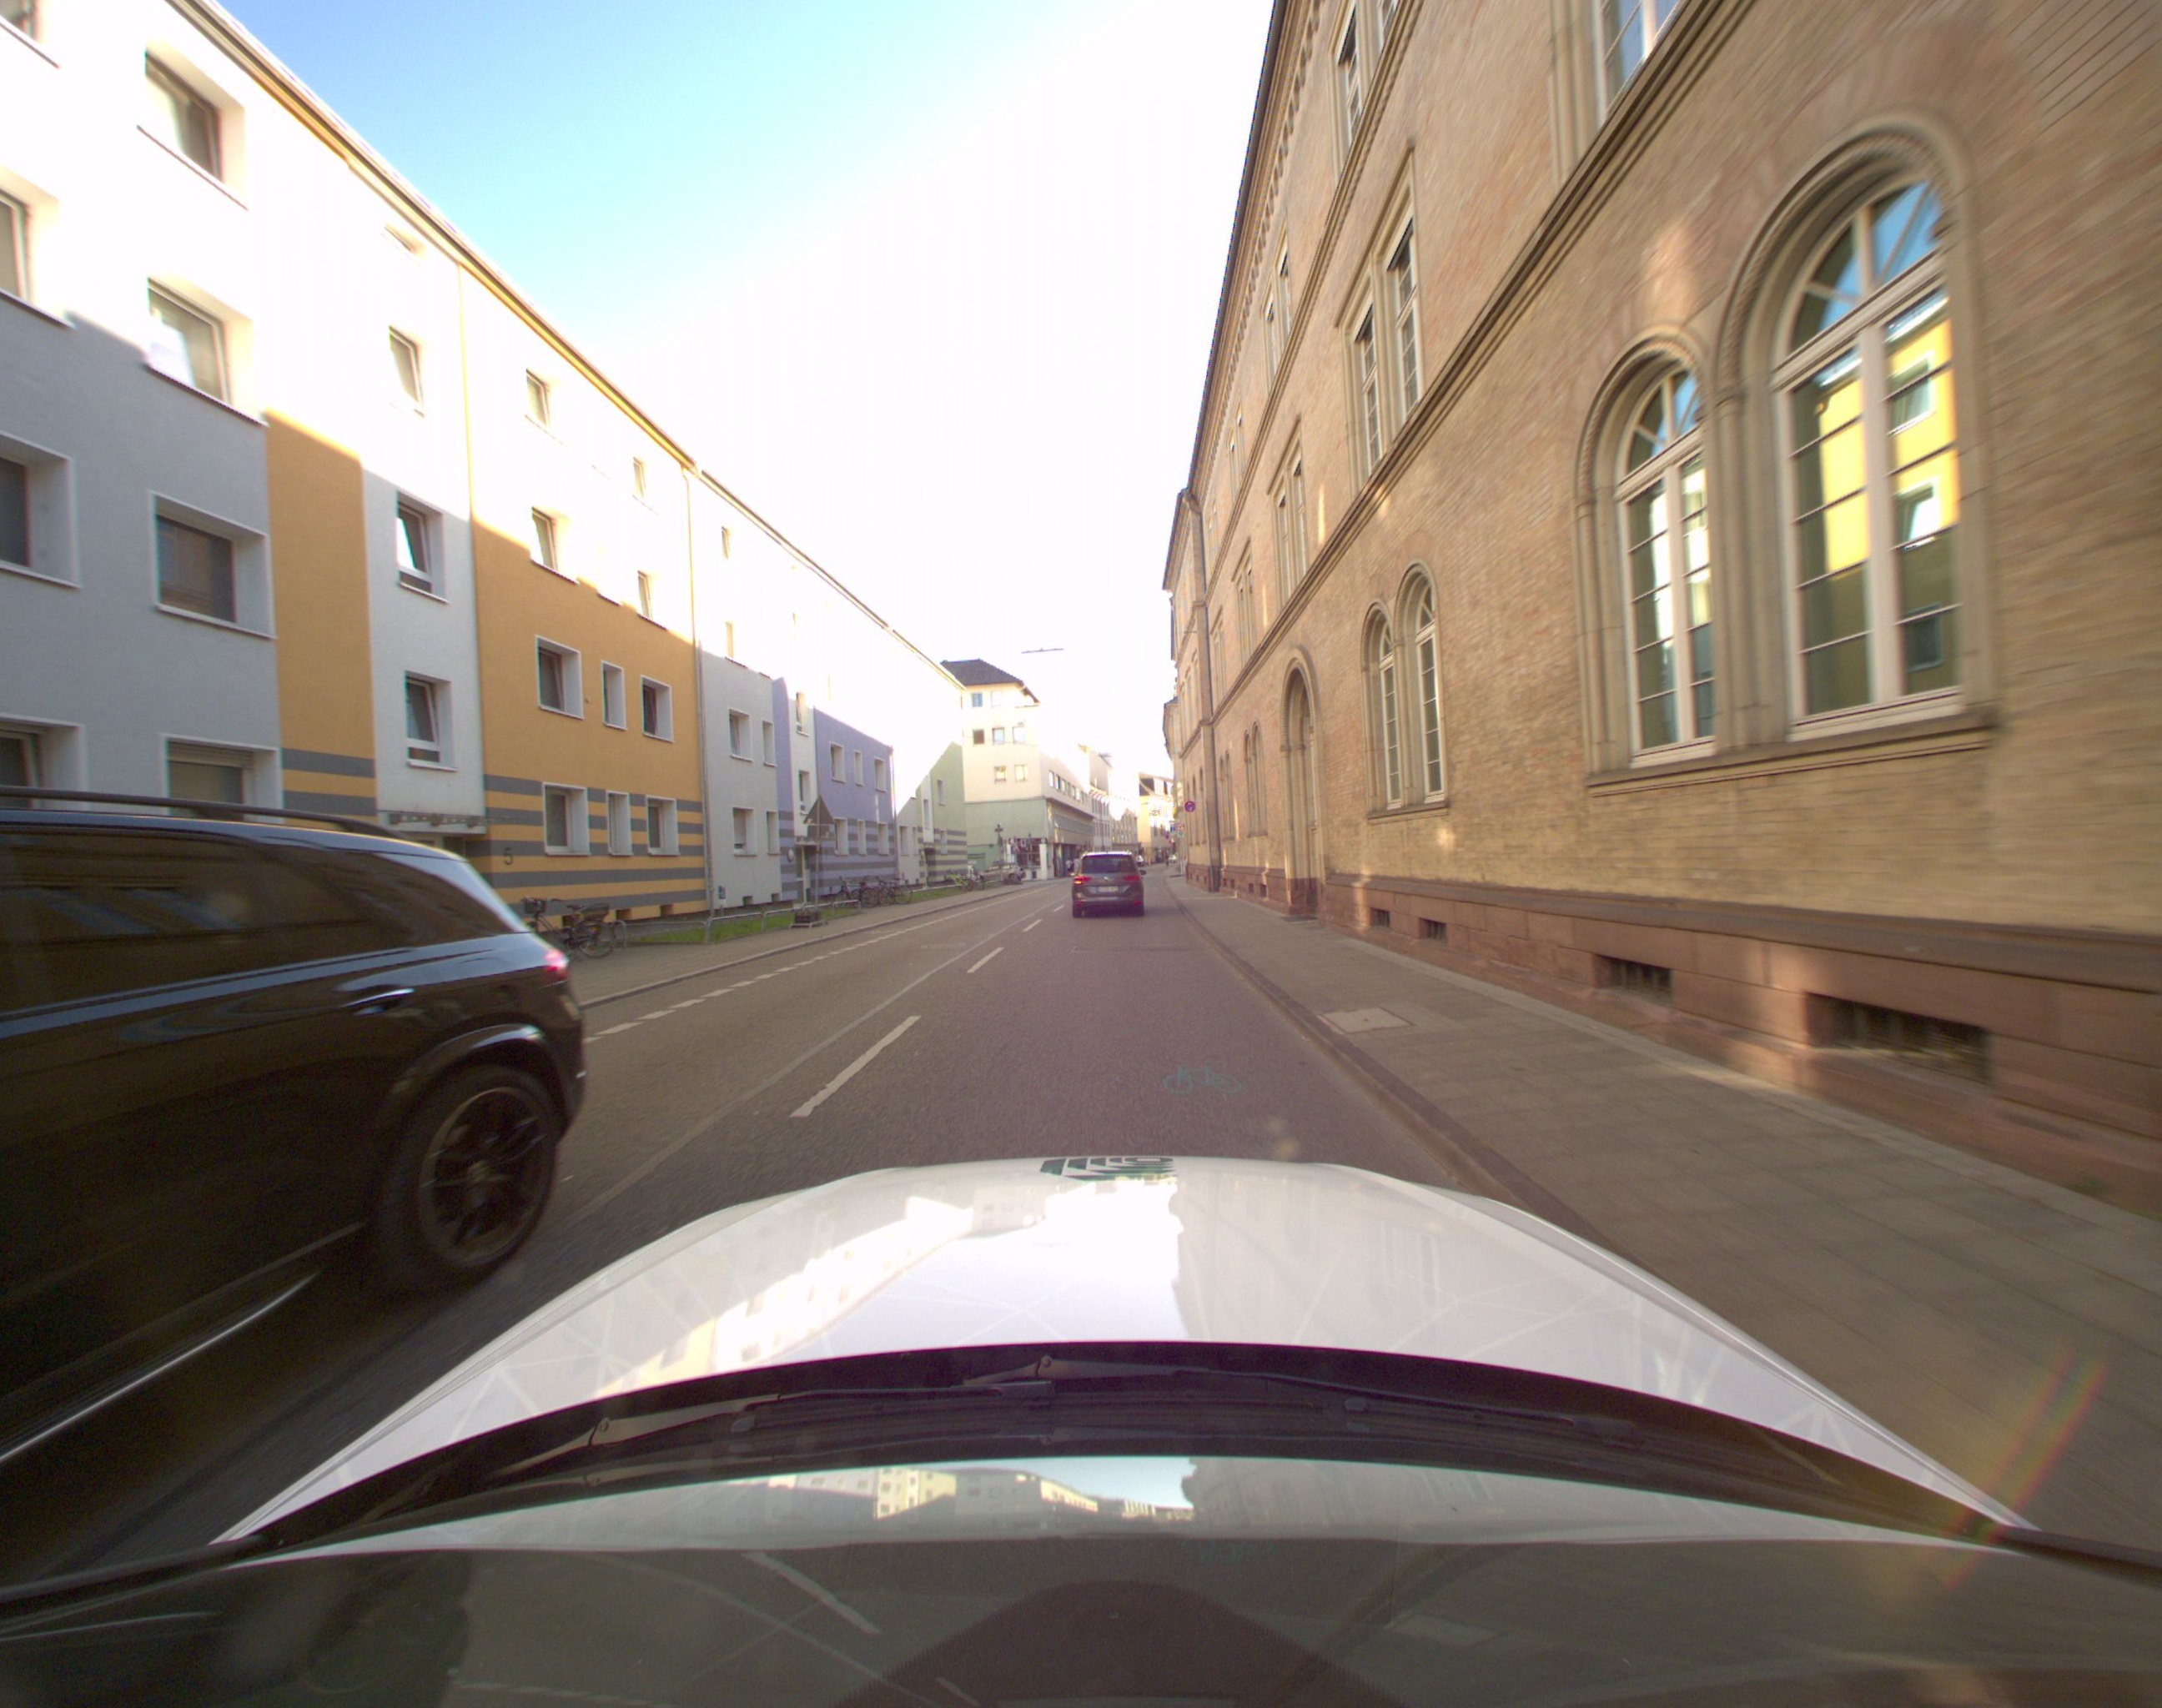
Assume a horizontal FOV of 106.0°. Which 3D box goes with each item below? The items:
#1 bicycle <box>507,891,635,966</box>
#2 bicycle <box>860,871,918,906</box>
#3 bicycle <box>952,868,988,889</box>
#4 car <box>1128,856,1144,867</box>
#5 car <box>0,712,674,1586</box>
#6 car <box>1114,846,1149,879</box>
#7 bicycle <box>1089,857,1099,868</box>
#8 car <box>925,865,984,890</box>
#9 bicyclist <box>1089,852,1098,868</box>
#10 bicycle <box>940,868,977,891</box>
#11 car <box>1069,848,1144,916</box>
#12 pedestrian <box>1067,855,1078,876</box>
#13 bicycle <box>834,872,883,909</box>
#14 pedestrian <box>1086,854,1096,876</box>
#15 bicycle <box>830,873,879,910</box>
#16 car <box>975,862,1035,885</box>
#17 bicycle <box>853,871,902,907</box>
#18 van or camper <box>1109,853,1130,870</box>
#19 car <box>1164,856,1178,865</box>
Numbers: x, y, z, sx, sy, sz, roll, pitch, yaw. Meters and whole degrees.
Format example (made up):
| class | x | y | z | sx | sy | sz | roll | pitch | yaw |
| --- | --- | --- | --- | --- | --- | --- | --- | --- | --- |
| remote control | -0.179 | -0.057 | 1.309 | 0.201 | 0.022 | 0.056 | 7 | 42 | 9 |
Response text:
| class | x | y | z | sx | sy | sz | roll | pitch | yaw |
| --- | --- | --- | --- | --- | --- | --- | --- | --- | --- |
| bicycle | -8.890 | 1.287 | 14.250 | 1.749 | 1.145 | 0.649 | -3 | -1 | -6 |
| bicycle | -7.288 | 1.314 | 30.973 | 2.001 | 1.231 | 0.623 | -3 | -1 | 2 |
| bicycle | -6.096 | 1.337 | 44.660 | 1.925 | 1.179 | 0.612 | 0 | -1 | -5 |
| car | 8.099 | 1.118 | 119.873 | 1.854 | 1.468 | 3.844 | -3 | 0 | 10 |
| car | -3.252 | 0.679 | 1.796 | 1.893 | 1.835 | 5.096 | -5 | 0 | 2 |
| car | 3.122 | 0.497 | 50.179 | 1.985 | 1.882 | 4.003 | -3 | 0 | 3 |
| bicycle | 1.300 | 0.890 | 82.503 | 0.827 | 1.054 | 2.552 | -3 | 0 | 5 |
| car | -8.542 | 1.564 | 54.986 | 3.483 | 1.443 | 1.817 | -3 | 0 | 6 |
| bicyclist | 1.298 | 0.630 | 82.528 | 0.827 | 1.561 | 0.760 | -3 | 0 | 4 |
| bicycle | -6.486 | 1.344 | 43.212 | 1.930 | 1.179 | 0.611 | 0 | -1 | -11 |
| car | 0.726 | 0.678 | 21.206 | 1.754 | 1.607 | 4.004 | 0 | 0 | 3 |
| pedestrian | -0.756 | 1.013 | 71.267 | 0.550 | 1.829 | 0.735 | -3 | -1 | 28 |
| bicycle | -7.925 | 1.293 | 29.032 | 1.578 | 1.241 | 0.449 | -3 | -1 | 2 |
| pedestrian | 0.893 | 0.958 | 71.775 | 0.550 | 1.829 | 0.735 | -3 | -1 | 28 |
| bicycle | -7.945 | 1.311 | 28.614 | 1.573 | 1.241 | 0.384 | -3 | -1 | 1 |
| car | -5.635 | 1.444 | 60.670 | 4.077 | 1.443 | 1.951 | -3 | 0 | 6 |
| bicycle | -7.555 | 1.310 | 30.267 | 1.633 | 1.241 | 0.467 | -3 | -1 | 2 |
| van or camper | 4.934 | 0.880 | 103.861 | 1.981 | 2.013 | 4.496 | -3 | 0 | 11 |
| car | 16.532 | 1.159 | 149.626 | 1.719 | 1.468 | 4.019 | -3 | 0 | 19 |
